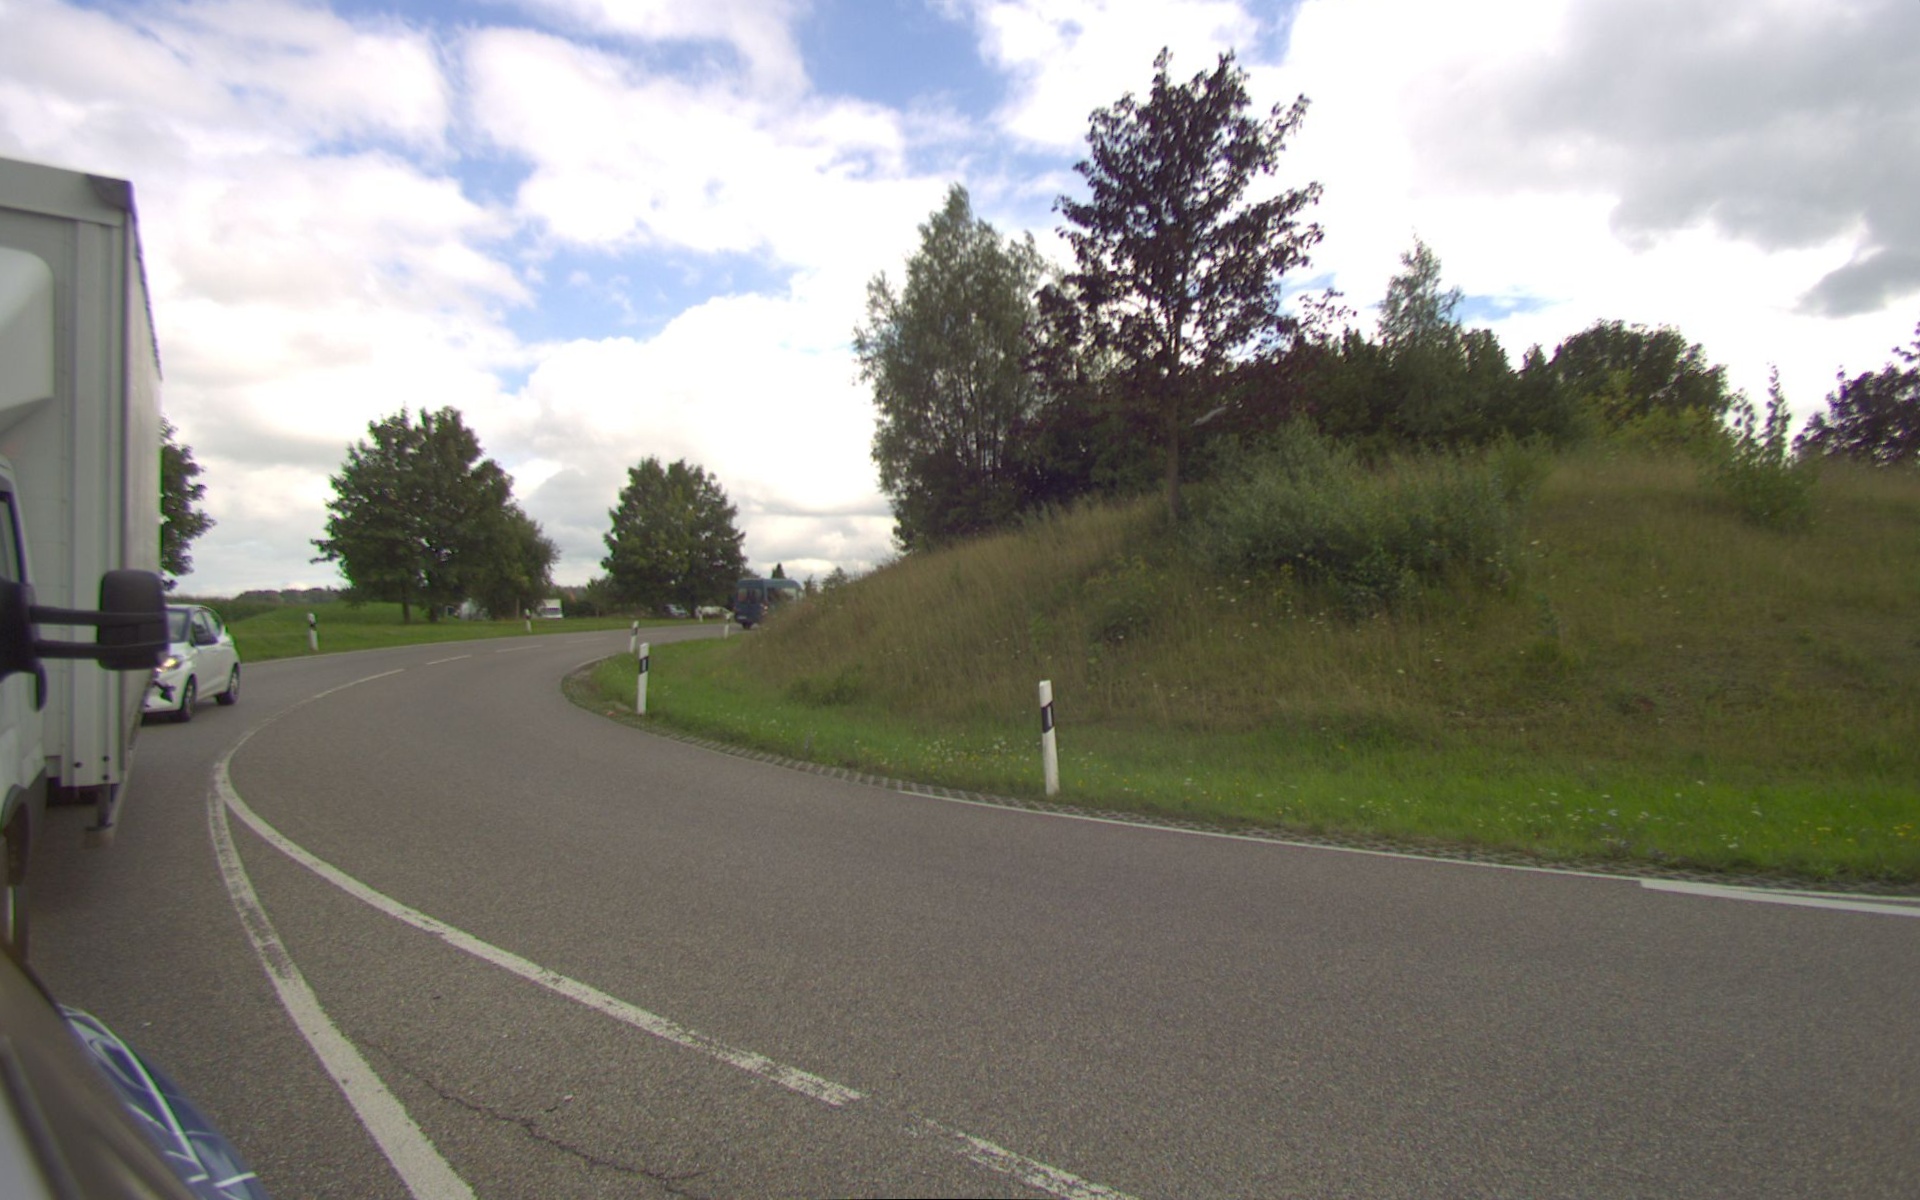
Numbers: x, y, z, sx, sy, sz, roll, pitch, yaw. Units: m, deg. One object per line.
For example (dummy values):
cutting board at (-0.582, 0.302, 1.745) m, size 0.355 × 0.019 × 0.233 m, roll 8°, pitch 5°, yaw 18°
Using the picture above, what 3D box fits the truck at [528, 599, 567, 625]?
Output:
truck at (-40.799, 1.241, 99.989) m, size 2.254 × 2.439 × 6.398 m, roll -1°, pitch -1°, yaw -34°

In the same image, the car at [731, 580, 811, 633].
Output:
car at (-9.841, 0.375, 53.152) m, size 1.983 × 2.650 × 5.091 m, roll 0°, pitch -1°, yaw 18°

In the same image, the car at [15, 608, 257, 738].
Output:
car at (-11.191, 0.906, 14.061) m, size 1.721 × 1.477 × 4.013 m, roll -1°, pitch -1°, yaw -26°

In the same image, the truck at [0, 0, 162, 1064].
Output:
truck at (-6.295, -0.490, 5.679) m, size 2.793 × 3.792 × 8.817 m, roll 1°, pitch -2°, yaw -38°

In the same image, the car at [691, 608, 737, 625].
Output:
car at (-25.598, 1.699, 105.373) m, size 4.328 × 1.597 × 2.007 m, roll -1°, pitch -1°, yaw -23°
